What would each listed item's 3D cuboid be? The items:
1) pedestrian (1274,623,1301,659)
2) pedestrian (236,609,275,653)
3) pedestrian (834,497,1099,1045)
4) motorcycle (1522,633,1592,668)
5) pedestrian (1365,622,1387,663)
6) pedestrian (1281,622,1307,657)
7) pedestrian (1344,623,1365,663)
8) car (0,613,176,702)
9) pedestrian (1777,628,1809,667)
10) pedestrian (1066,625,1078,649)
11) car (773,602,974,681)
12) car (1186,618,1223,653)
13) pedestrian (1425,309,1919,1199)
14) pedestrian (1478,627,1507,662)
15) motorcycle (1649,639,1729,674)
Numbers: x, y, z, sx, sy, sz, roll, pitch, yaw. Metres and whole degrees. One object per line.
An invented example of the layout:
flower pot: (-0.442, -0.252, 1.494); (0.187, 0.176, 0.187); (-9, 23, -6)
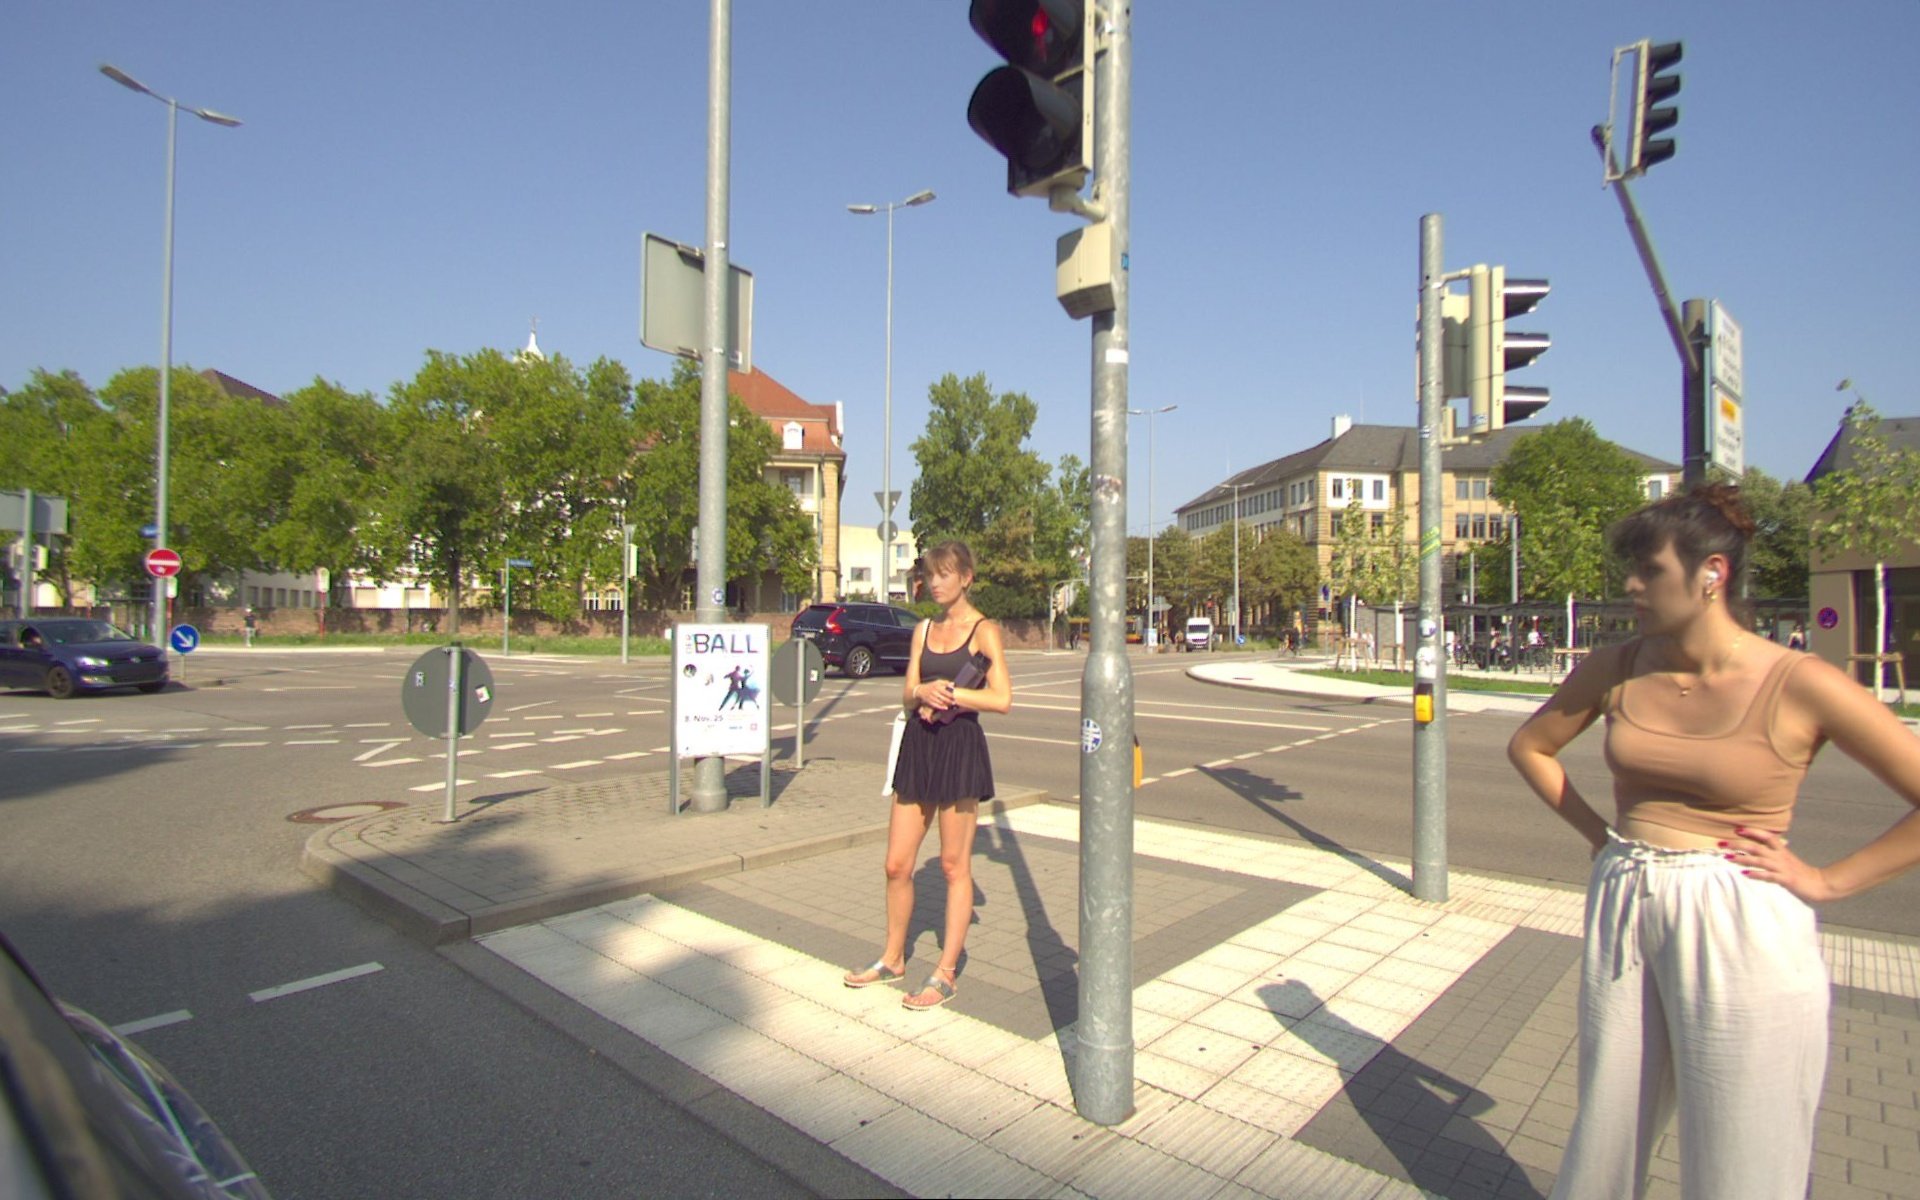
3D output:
pedestrian: (18.861, 2.345, 58.261); (1.207, 2.029, 1.329); (-1, -2, 30)
pedestrian: (-32.585, 1.425, 46.803); (1.315, 2.029, 1.067); (-1, -1, 33)
pedestrian: (0.031, 0.545, 3.661); (0.691, 1.712, 0.659); (-2, -3, 42)
motorcycle: (25.688, 2.138, 43.602); (0.776, 1.460, 2.778); (1, -2, -17)
pedestrian: (21.075, 2.138, 51.244); (0.854, 2.029, 1.003); (0, -2, 13)
pedestrian: (19.781, 2.325, 59.898); (1.207, 2.029, 1.329); (-1, -2, 30)
pedestrian: (20.096, 2.193, 51.581); (0.854, 2.029, 1.003); (0, -2, 13)
car: (-16.558, 1.024, 18.589); (3.819, 1.509, 1.616); (-1, -1, 19)
pedestrian: (30.555, 1.755, 37.138); (0.680, 1.419, 0.590); (1, -2, -13)
pedestrian: (9.481, 3.141, 85.623); (0.817, 2.029, 0.810); (-1, 0, 25)
car: (-1.912, 0.928, 23.265); (4.305, 1.646, 2.002); (2, -2, -43)
car: (18.525, 2.641, 76.445); (1.986, 2.470, 5.513); (-1, 0, 21)
pedestrian: (1.362, 0.466, 1.752); (0.658, 1.667, 0.781); (1, -2, -12)
pedestrian: (27.675, 2.321, 52.625); (0.847, 1.774, 1.010); (1, -2, -23)
motorcycle: (26.894, 2.068, 37.404); (0.746, 1.214, 2.382); (1, -2, -18)
